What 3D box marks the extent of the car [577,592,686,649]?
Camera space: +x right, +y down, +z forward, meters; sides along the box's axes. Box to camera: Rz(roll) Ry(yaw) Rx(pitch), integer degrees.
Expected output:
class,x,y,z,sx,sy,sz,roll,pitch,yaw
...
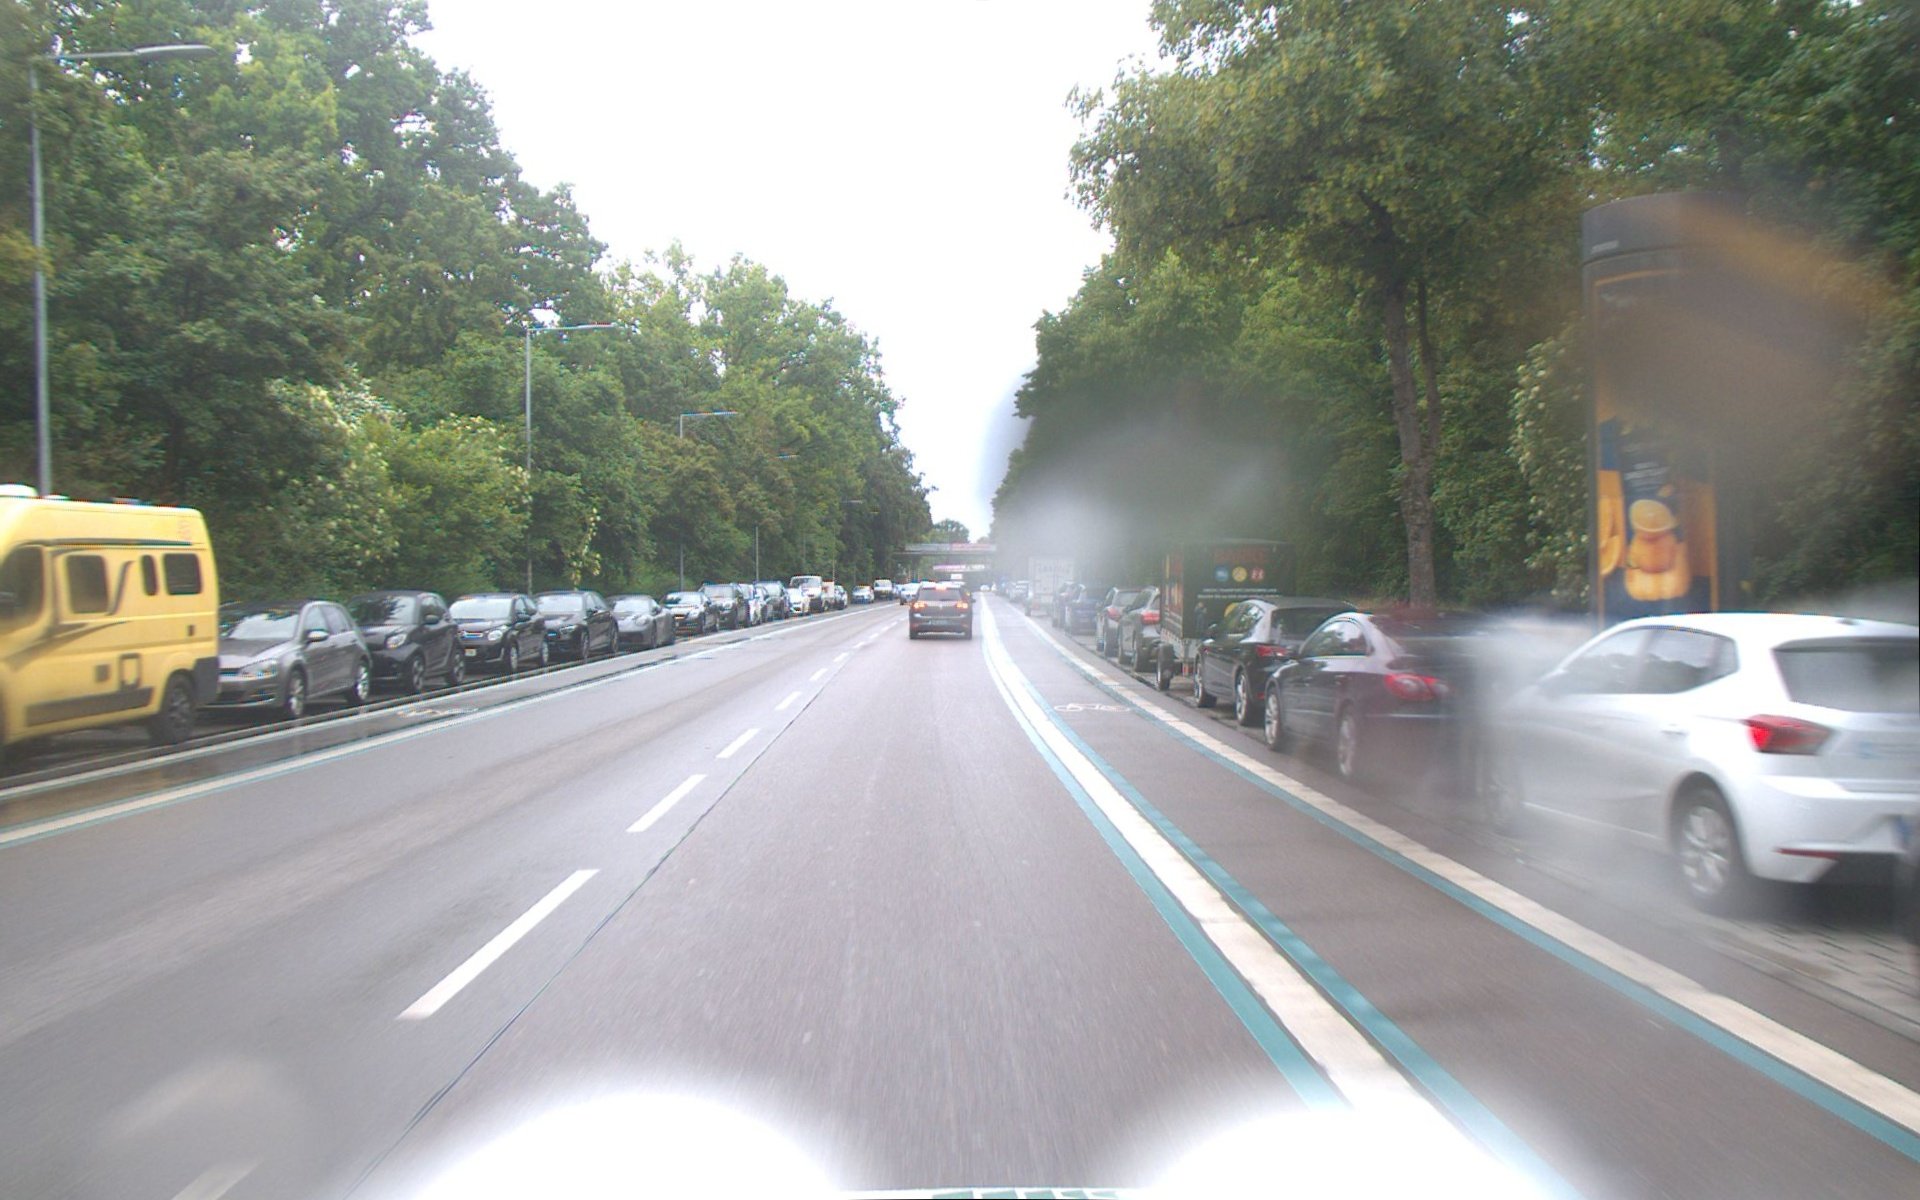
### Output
class,x,y,z,sx,sy,sz,roll,pitch,yaw
car,-8.151,0.471,41.385,1.831,1.326,4.470,0,1,0

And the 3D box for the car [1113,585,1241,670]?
class,x,y,z,sx,sy,sz,roll,pitch,yaw
car,3.980,0.457,30.943,1.759,1.475,4.428,0,1,-1

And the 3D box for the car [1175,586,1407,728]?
class,x,y,z,sx,sy,sz,roll,pitch,yaw
car,3.932,0.614,20.342,1.786,1.511,4.198,2,0,-3

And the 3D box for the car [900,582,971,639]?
class,x,y,z,sx,sy,sz,roll,pitch,yaw
car,-0.692,0.311,45.539,1.833,1.466,4.294,1,-1,-2

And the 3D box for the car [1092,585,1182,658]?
class,x,y,z,sx,sy,sz,roll,pitch,yaw
car,3.852,0.431,36.563,1.582,1.496,4.000,1,0,1

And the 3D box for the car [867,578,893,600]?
class,x,y,z,sx,sy,sz,roll,pitch,yaw
car,-7.718,-1.060,159.621,2.114,2.049,5.032,0,1,1

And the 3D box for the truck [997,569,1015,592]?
class,x,y,z,sx,sy,sz,roll,pitch,yaw
truck,5.390,-2.338,195.360,2.069,2.644,4.301,0,0,1

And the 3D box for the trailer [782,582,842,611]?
class,x,y,z,sx,sy,sz,roll,pitch,yaw
trailer,-8.502,-0.210,95.283,1.595,1.657,3.664,0,1,31

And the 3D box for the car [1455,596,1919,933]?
class,x,y,z,sx,sy,sz,roll,pitch,yaw
car,4.351,0.747,9.469,1.586,1.492,3.997,1,0,-4

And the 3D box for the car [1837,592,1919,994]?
class,x,y,z,sx,sy,sz,roll,pitch,yaw
car,4.406,0.757,4.765,1.625,1.490,3.899,2,0,-1

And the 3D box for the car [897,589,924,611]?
class,x,y,z,sx,sy,sz,roll,pitch,yaw
car,-3.451,-0.016,115.985,1.664,1.510,4.035,-1,1,1

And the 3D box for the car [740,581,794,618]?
class,x,y,z,sx,sy,sz,roll,pitch,yaw
car,-8.517,-0.047,73.368,1.841,1.589,4.469,0,0,1

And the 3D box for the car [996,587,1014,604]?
class,x,y,z,sx,sy,sz,roll,pitch,yaw
car,5.094,-0.480,187.533,1.952,1.803,4.000,-2,0,1

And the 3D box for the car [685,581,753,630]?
class,x,y,z,sx,sy,sz,roll,pitch,yaw
car,-8.318,0.156,57.297,1.661,1.611,4.139,0,1,1

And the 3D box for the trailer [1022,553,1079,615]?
class,x,y,z,sx,sy,sz,roll,pitch,yaw
trailer,3.920,-0.712,72.115,2.089,2.605,4.296,0,0,-2

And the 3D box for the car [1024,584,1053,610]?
class,x,y,z,sx,sy,sz,roll,pitch,yaw
car,4.772,-0.213,100.888,1.686,1.552,4.001,0,1,1

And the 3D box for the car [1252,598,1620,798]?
class,x,y,z,sx,sy,sz,roll,pitch,yaw
car,3.933,0.727,14.500,1.717,1.418,4.443,2,0,-3

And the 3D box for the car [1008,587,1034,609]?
class,x,y,z,sx,sy,sz,roll,pitch,yaw
car,4.605,-0.179,125.219,1.858,1.634,4.001,0,1,1

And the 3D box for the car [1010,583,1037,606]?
class,x,y,z,sx,sy,sz,roll,pitch,yaw
car,4.644,-0.415,120.601,1.858,1.634,4.001,0,1,1

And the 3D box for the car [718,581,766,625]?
class,x,y,z,sx,sy,sz,roll,pitch,yaw
car,-8.160,0.096,61.967,1.431,1.598,2.984,0,1,-1

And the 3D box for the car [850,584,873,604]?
class,x,y,z,sx,sy,sz,roll,pitch,yaw
car,-8.043,-0.522,135.250,1.638,1.540,3.630,1,1,0

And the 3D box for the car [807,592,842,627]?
class,x,y,z,sx,sy,sz,roll,pitch,yaw
car,-8.237,0.540,100.850,1.901,2.049,4.738,0,1,-2

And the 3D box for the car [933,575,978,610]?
class,x,y,z,sx,sy,sz,roll,pitch,yaw
car,-0.248,-0.360,76.023,1.843,1.491,3.998,2,1,-3

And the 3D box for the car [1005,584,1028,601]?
class,x,y,z,sx,sy,sz,roll,pitch,yaw
car,5.326,-0.741,155.643,1.953,1.557,4.000,0,0,-1

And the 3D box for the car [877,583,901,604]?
class,x,y,z,sx,sy,sz,roll,pitch,yaw
car,-7.215,-0.660,167.730,2.114,2.049,5.032,0,1,1

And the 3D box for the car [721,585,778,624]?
class,x,y,z,sx,sy,sz,roll,pitch,yaw
car,-8.531,0.152,67.259,1.771,1.514,4.468,0,0,-1

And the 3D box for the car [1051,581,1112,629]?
class,x,y,z,sx,sy,sz,roll,pitch,yaw
car,4.021,0.126,55.127,1.678,1.539,3.975,0,1,-1

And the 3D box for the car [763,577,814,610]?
class,x,y,z,sx,sy,sz,roll,pitch,yaw
car,-8.232,-0.326,79.876,1.952,1.514,4.469,0,0,1

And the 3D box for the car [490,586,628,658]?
class,x,y,z,sx,sy,sz,roll,pitch,yaw
car,-8.782,0.448,36.585,1.952,1.477,4.139,0,1,1

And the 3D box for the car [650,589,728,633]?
class,x,y,z,sx,sy,sz,roll,pitch,yaw
car,-8.439,0.312,51.842,1.661,1.323,4.193,0,1,1

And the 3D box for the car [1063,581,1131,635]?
class,x,y,z,sx,sy,sz,roll,pitch,yaw
car,4.041,0.191,49.249,1.647,1.507,4.318,1,1,0

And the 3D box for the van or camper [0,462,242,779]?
class,x,y,z,sx,sy,sz,roll,pitch,yaw
van or camper,-9.111,0.162,15.607,2.099,2.673,5.683,0,1,1

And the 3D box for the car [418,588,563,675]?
class,x,y,z,sx,sy,sz,roll,pitch,yaw
car,-8.991,0.558,31.966,1.569,1.536,3.977,0,1,1

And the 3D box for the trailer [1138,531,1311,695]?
class,x,y,z,sx,sy,sz,roll,pitch,yaw
trailer,3.962,0.157,25.551,1.867,2.287,4.767,0,1,0

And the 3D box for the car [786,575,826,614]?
class,x,y,z,sx,sy,sz,roll,pitch,yaw
car,-8.389,-0.332,90.256,1.901,2.049,4.738,0,1,-2

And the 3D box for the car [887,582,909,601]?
class,x,y,z,sx,sy,sz,roll,pitch,yaw
car,-6.900,-0.992,184.617,2.114,2.049,5.032,0,1,1

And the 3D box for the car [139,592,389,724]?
class,x,y,z,sx,sy,sz,roll,pitch,yaw
car,-9.032,0.680,21.855,1.645,1.524,4.147,-1,0,-2

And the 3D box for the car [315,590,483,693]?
class,x,y,z,sx,sy,sz,roll,pitch,yaw
car,-8.953,0.616,26.619,1.569,1.536,3.139,0,1,1

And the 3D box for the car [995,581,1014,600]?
class,x,y,z,sx,sy,sz,roll,pitch,yaw
car,4.856,-1.049,180.170,1.953,2.049,3.999,0,0,-1
